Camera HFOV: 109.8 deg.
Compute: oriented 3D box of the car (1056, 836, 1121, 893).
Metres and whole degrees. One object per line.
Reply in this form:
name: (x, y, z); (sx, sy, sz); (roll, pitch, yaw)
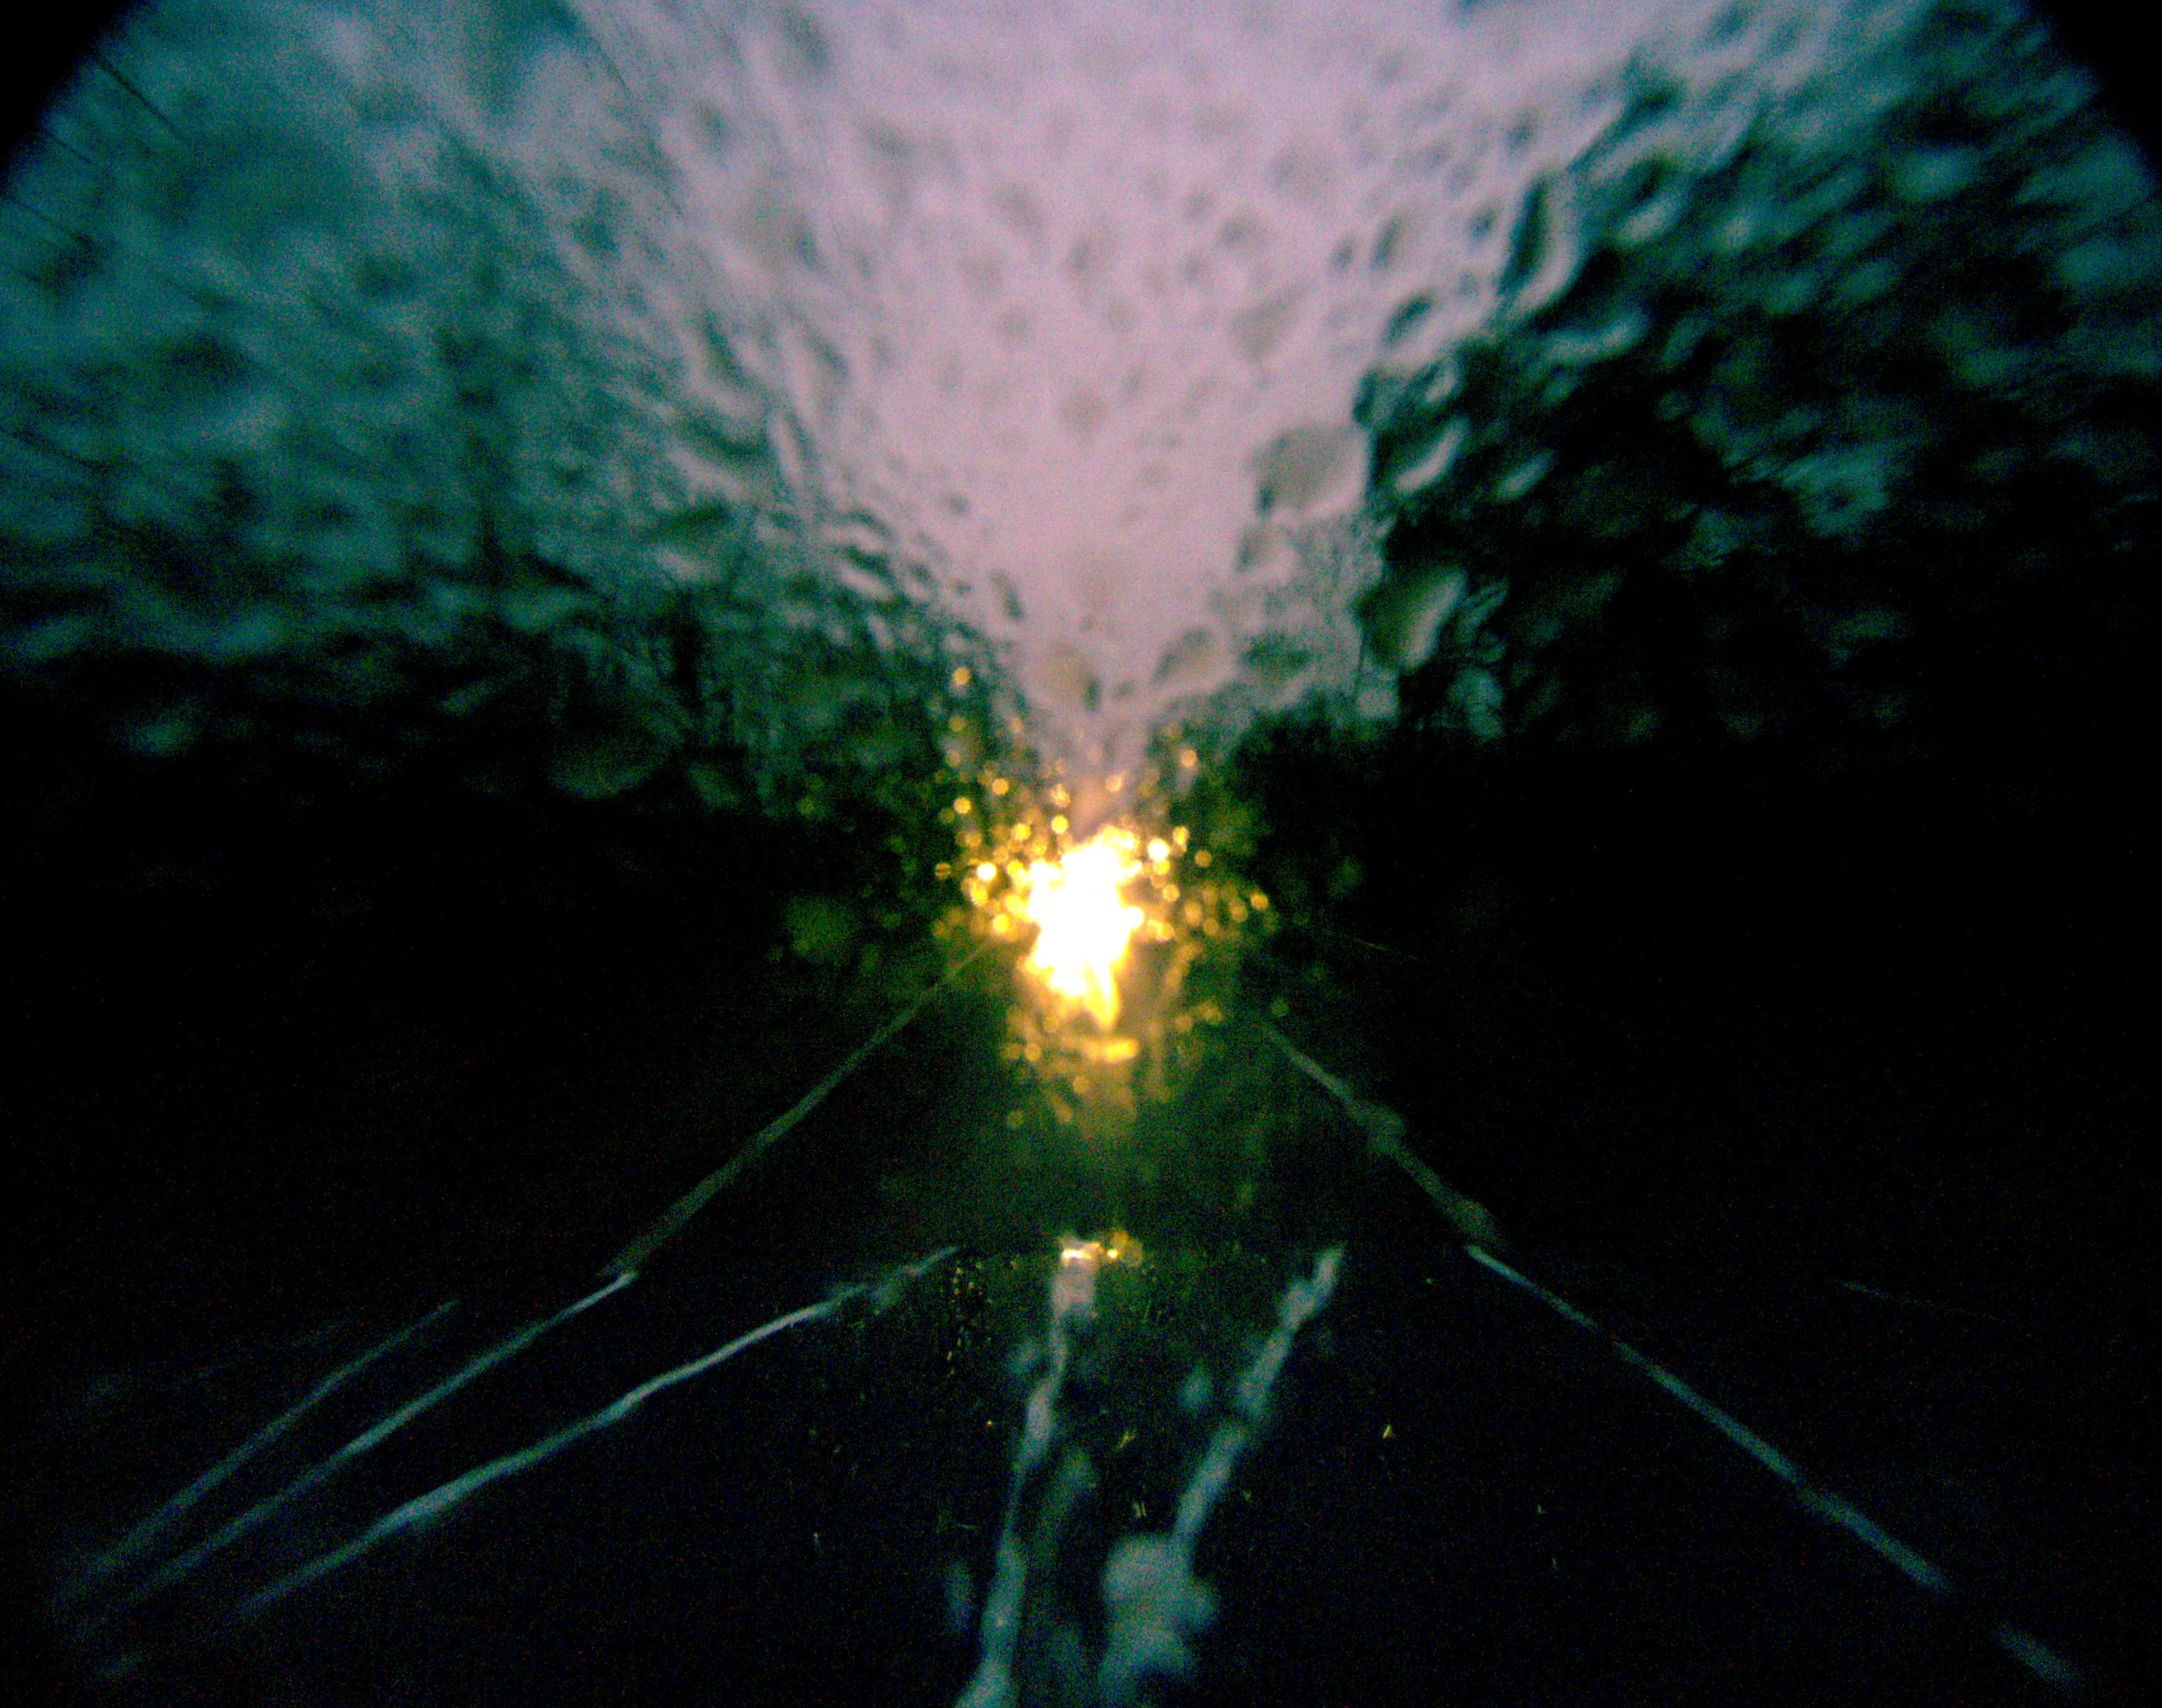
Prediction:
car: (0.348, 0.402, 33.708); (2.542, 2.213, 6.168); (-2, 1, 1)
